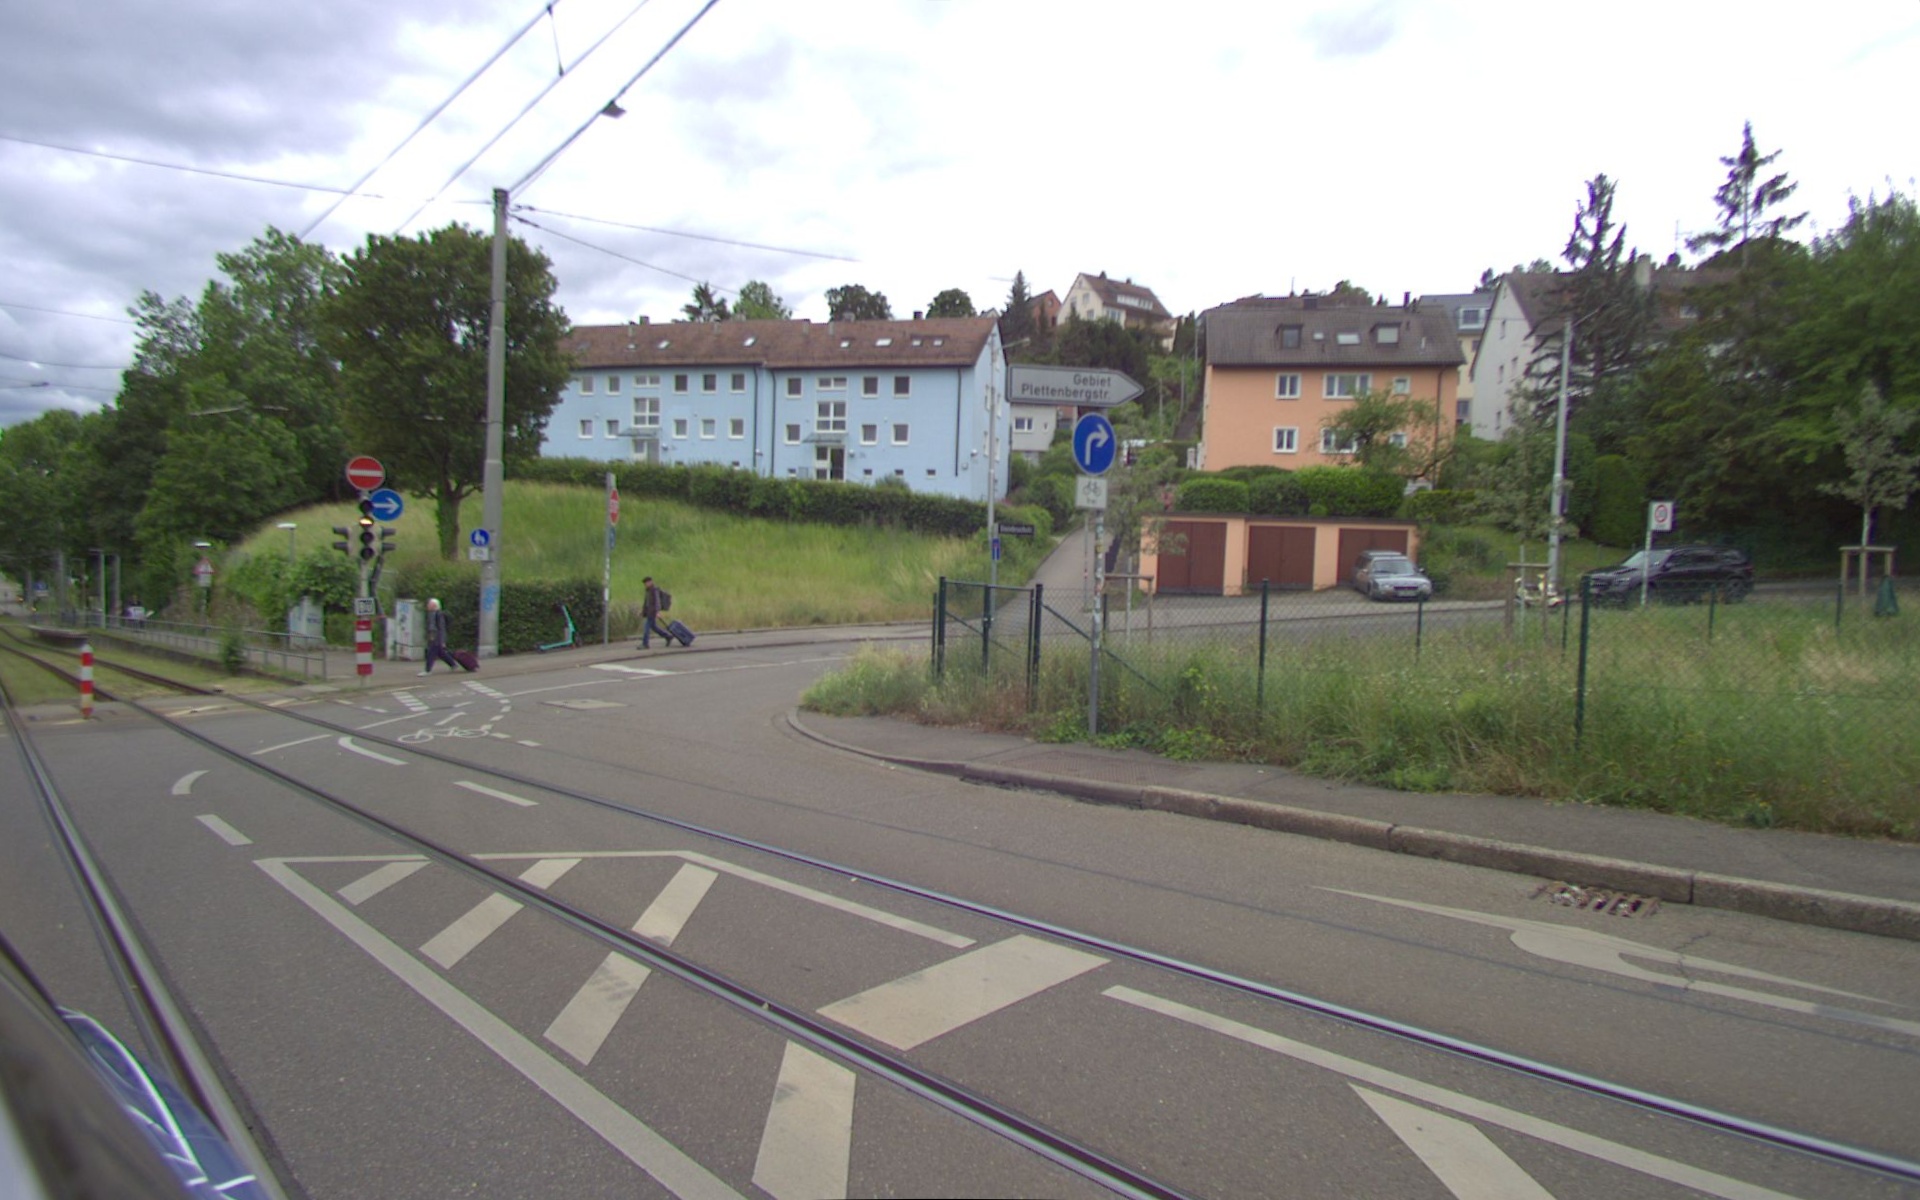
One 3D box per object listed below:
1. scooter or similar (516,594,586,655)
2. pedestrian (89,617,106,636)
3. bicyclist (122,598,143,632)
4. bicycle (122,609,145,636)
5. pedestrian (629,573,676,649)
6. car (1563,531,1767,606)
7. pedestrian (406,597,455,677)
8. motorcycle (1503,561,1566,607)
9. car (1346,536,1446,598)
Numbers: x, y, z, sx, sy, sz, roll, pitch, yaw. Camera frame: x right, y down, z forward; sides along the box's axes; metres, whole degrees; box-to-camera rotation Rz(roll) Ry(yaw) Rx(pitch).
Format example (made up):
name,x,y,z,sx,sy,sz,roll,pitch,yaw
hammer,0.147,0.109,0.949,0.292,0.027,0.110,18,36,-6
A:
name,x,y,z,sx,sy,sz,roll,pitch,yaw
scooter or similar,-9.641,0.555,23.871,0.419,1.298,1.393,0,5,45
pedestrian,-65.463,2.003,76.817,0.773,1.333,0.813,0,1,38
bicyclist,-40.928,0.734,50.050,0.696,1.641,1.033,-2,0,-42
bicycle,-40.482,1.102,49.562,0.741,1.249,2.870,-2,0,-42
pedestrian,-7.319,0.245,24.089,0.887,1.763,0.745,-1,1,-32
car,19.528,-0.877,28.116,4.381,1.702,1.981,-4,2,-8
pedestrian,-10.885,0.737,20.798,0.741,1.586,0.758,-1,1,-38
motorcycle,15.992,-0.467,28.205,0.513,1.165,1.709,-1,5,-10
car,13.980,-1.123,32.763,1.979,1.624,4.865,0,6,11
